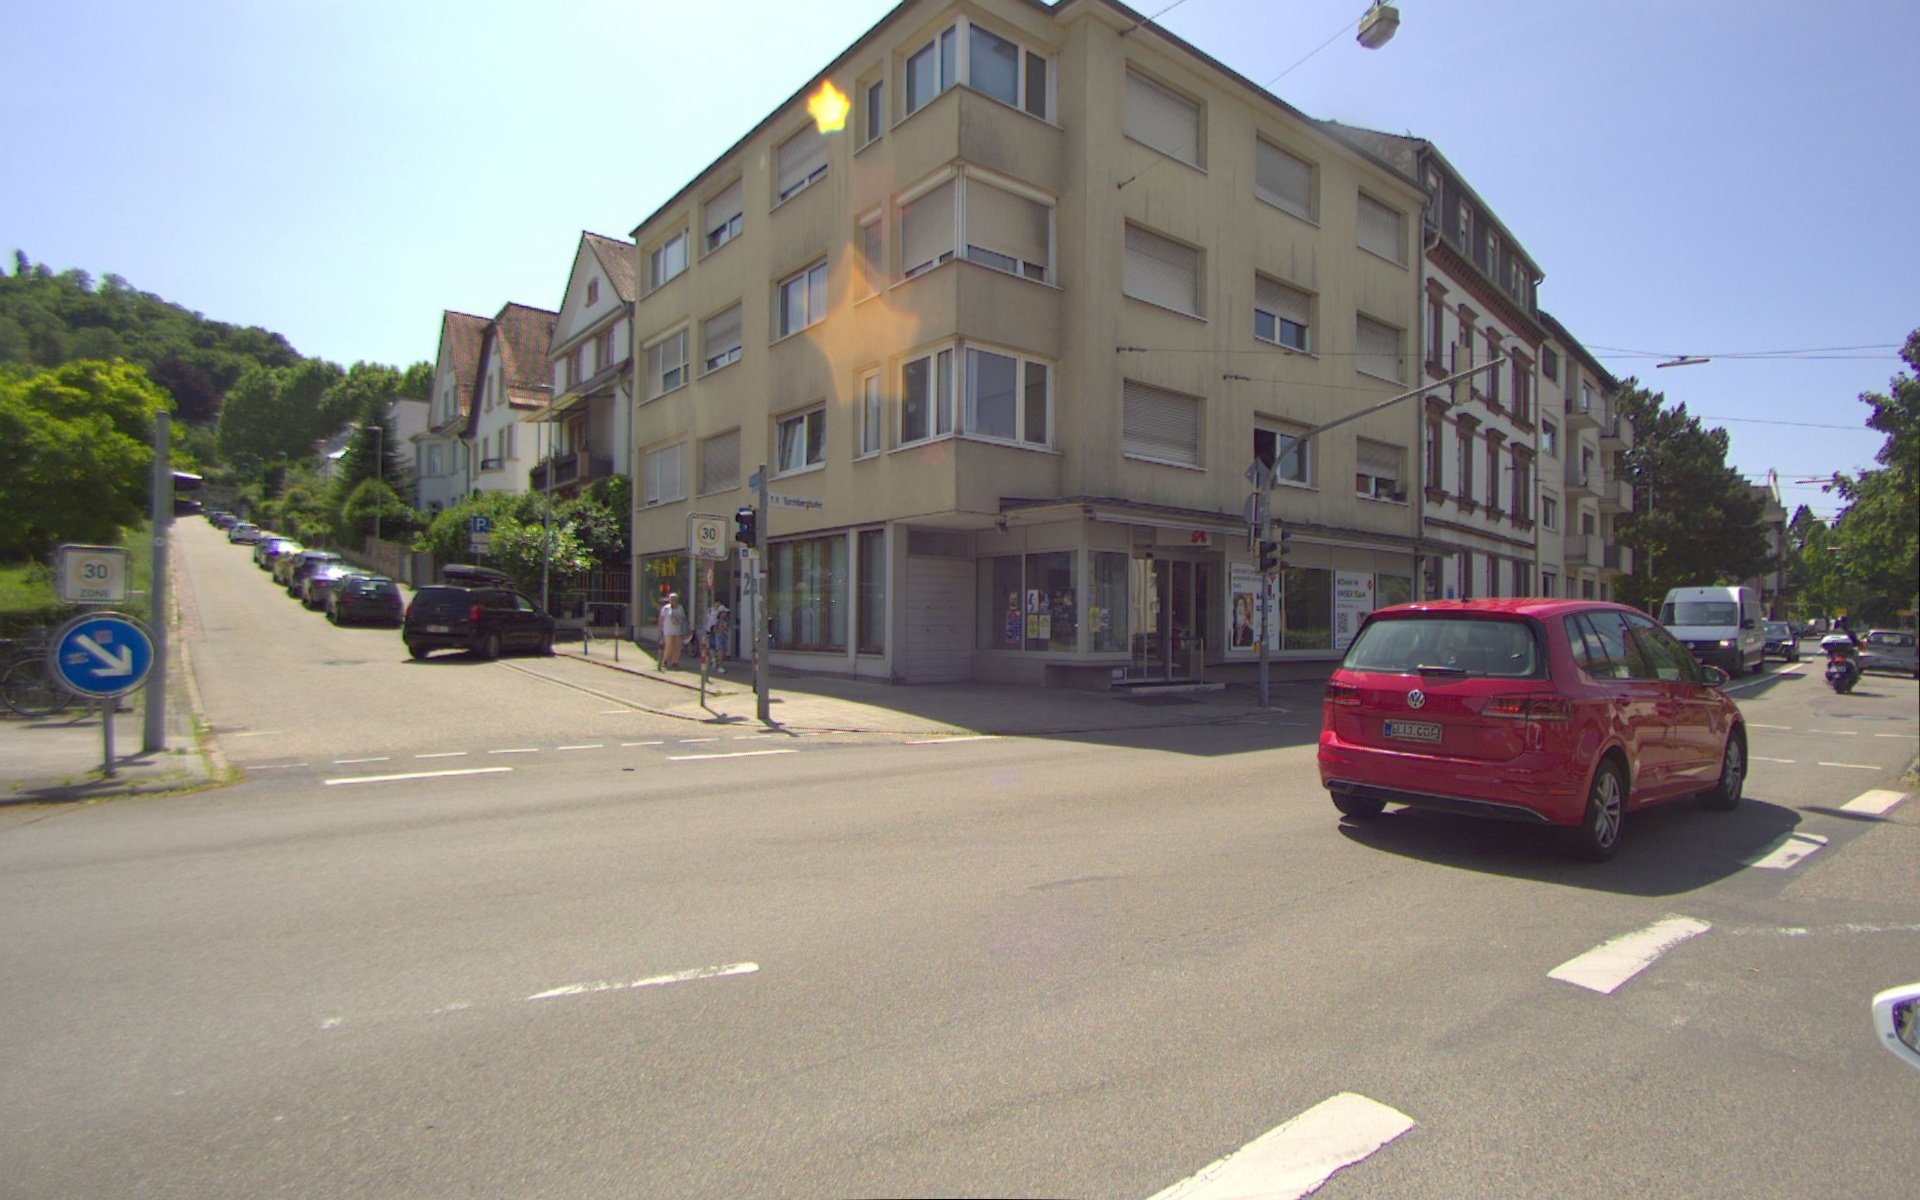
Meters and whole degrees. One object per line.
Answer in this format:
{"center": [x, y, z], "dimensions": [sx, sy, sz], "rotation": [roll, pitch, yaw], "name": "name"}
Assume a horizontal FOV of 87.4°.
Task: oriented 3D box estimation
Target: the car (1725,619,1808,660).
{"center": [32.612, 1.601, 40.584], "dimensions": [4.251, 1.578, 1.837], "rotation": [1, -3, -41], "name": "car"}

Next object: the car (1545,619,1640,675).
{"center": [19.692, 1.434, 31.204], "dimensions": [1.970, 1.539, 3.981], "rotation": [1, -1, 40], "name": "car"}

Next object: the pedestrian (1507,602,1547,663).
{"center": [18.419, 1.049, 32.628], "dimensions": [0.924, 1.957, 0.972], "rotation": [0, -1, 42], "name": "pedestrian"}

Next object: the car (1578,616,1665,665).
{"center": [22.844, 1.379, 34.633], "dimensions": [1.970, 1.539, 3.980], "rotation": [1, -1, 41], "name": "car"}

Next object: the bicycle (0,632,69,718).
{"center": [-11.379, 0.861, 11.480], "dimensions": [1.769, 0.980, 0.393], "rotation": [1, 0, -41], "name": "bicycle"}

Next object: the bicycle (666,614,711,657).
{"center": [-6.945, 0.897, 25.639], "dimensions": [0.494, 1.040, 1.724], "rotation": [1, 0, -37], "name": "bicycle"}

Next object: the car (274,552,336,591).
{"center": [-27.983, -1.234, 42.856], "dimensions": [1.794, 1.440, 3.954], "rotation": [1, 3, -39], "name": "car"}

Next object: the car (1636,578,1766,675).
{"center": [22.103, 0.842, 29.784], "dimensions": [2.193, 2.533, 7.511], "rotation": [-4, -4, 43], "name": "car"}

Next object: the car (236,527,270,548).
{"center": [-53.255, -4.712, 75.603], "dimensions": [1.843, 1.440, 3.954], "rotation": [1, 3, -39], "name": "car"}

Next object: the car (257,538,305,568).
{"center": [-37.000, -2.568, 54.713], "dimensions": [1.843, 1.440, 3.954], "rotation": [1, 3, -39], "name": "car"}

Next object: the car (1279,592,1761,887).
{"center": [4.262, 0.783, 7.385], "dimensions": [4.004, 1.578, 1.784], "rotation": [1, 0, -40], "name": "car"}

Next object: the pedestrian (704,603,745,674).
{"center": [-5.077, 0.814, 21.635], "dimensions": [0.642, 1.495, 0.681], "rotation": [1, 0, -35], "name": "pedestrian"}

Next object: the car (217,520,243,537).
{"center": [-71.611, -7.016, 98.549], "dimensions": [1.843, 1.440, 3.954], "rotation": [1, 3, -39], "name": "car"}

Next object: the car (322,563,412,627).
{"center": [-17.994, -0.181, 30.405], "dimensions": [1.794, 1.638, 3.954], "rotation": [1, 3, -39], "name": "car"}

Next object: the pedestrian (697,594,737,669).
{"center": [-5.501, 0.711, 22.743], "dimensions": [0.642, 1.654, 0.681], "rotation": [1, 0, -35], "name": "pedestrian"}

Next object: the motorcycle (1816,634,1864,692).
{"center": [18.953, 1.322, 21.623], "dimensions": [0.703, 1.149, 2.184], "rotation": [1, 0, 43], "name": "motorcycle"}

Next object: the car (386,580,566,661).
{"center": [-11.079, 0.461, 23.371], "dimensions": [1.960, 1.686, 4.330], "rotation": [1, -1, 2], "name": "car"}

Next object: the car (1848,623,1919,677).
{"center": [29.608, 1.560, 32.057], "dimensions": [1.780, 1.578, 4.014], "rotation": [0, -1, 43], "name": "car"}

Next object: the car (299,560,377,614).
{"center": [-21.270, -0.472, 34.285], "dimensions": [1.794, 1.571, 3.954], "rotation": [1, 3, -39], "name": "car"}

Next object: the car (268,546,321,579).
{"center": [-33.280, -1.905, 50.218], "dimensions": [1.843, 1.440, 3.954], "rotation": [1, 3, -39], "name": "car"}

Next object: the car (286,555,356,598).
{"center": [-24.355, -0.922, 38.213], "dimensions": [1.794, 1.406, 3.954], "rotation": [1, 3, -39], "name": "car"}

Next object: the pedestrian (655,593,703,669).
{"center": [-6.292, 0.681, 22.479], "dimensions": [0.814, 1.654, 0.796], "rotation": [1, -1, -36], "name": "pedestrian"}

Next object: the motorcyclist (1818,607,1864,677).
{"center": [18.955, 0.887, 21.613], "dimensions": [0.703, 1.465, 1.013], "rotation": [1, 0, 43], "name": "motorcyclist"}
